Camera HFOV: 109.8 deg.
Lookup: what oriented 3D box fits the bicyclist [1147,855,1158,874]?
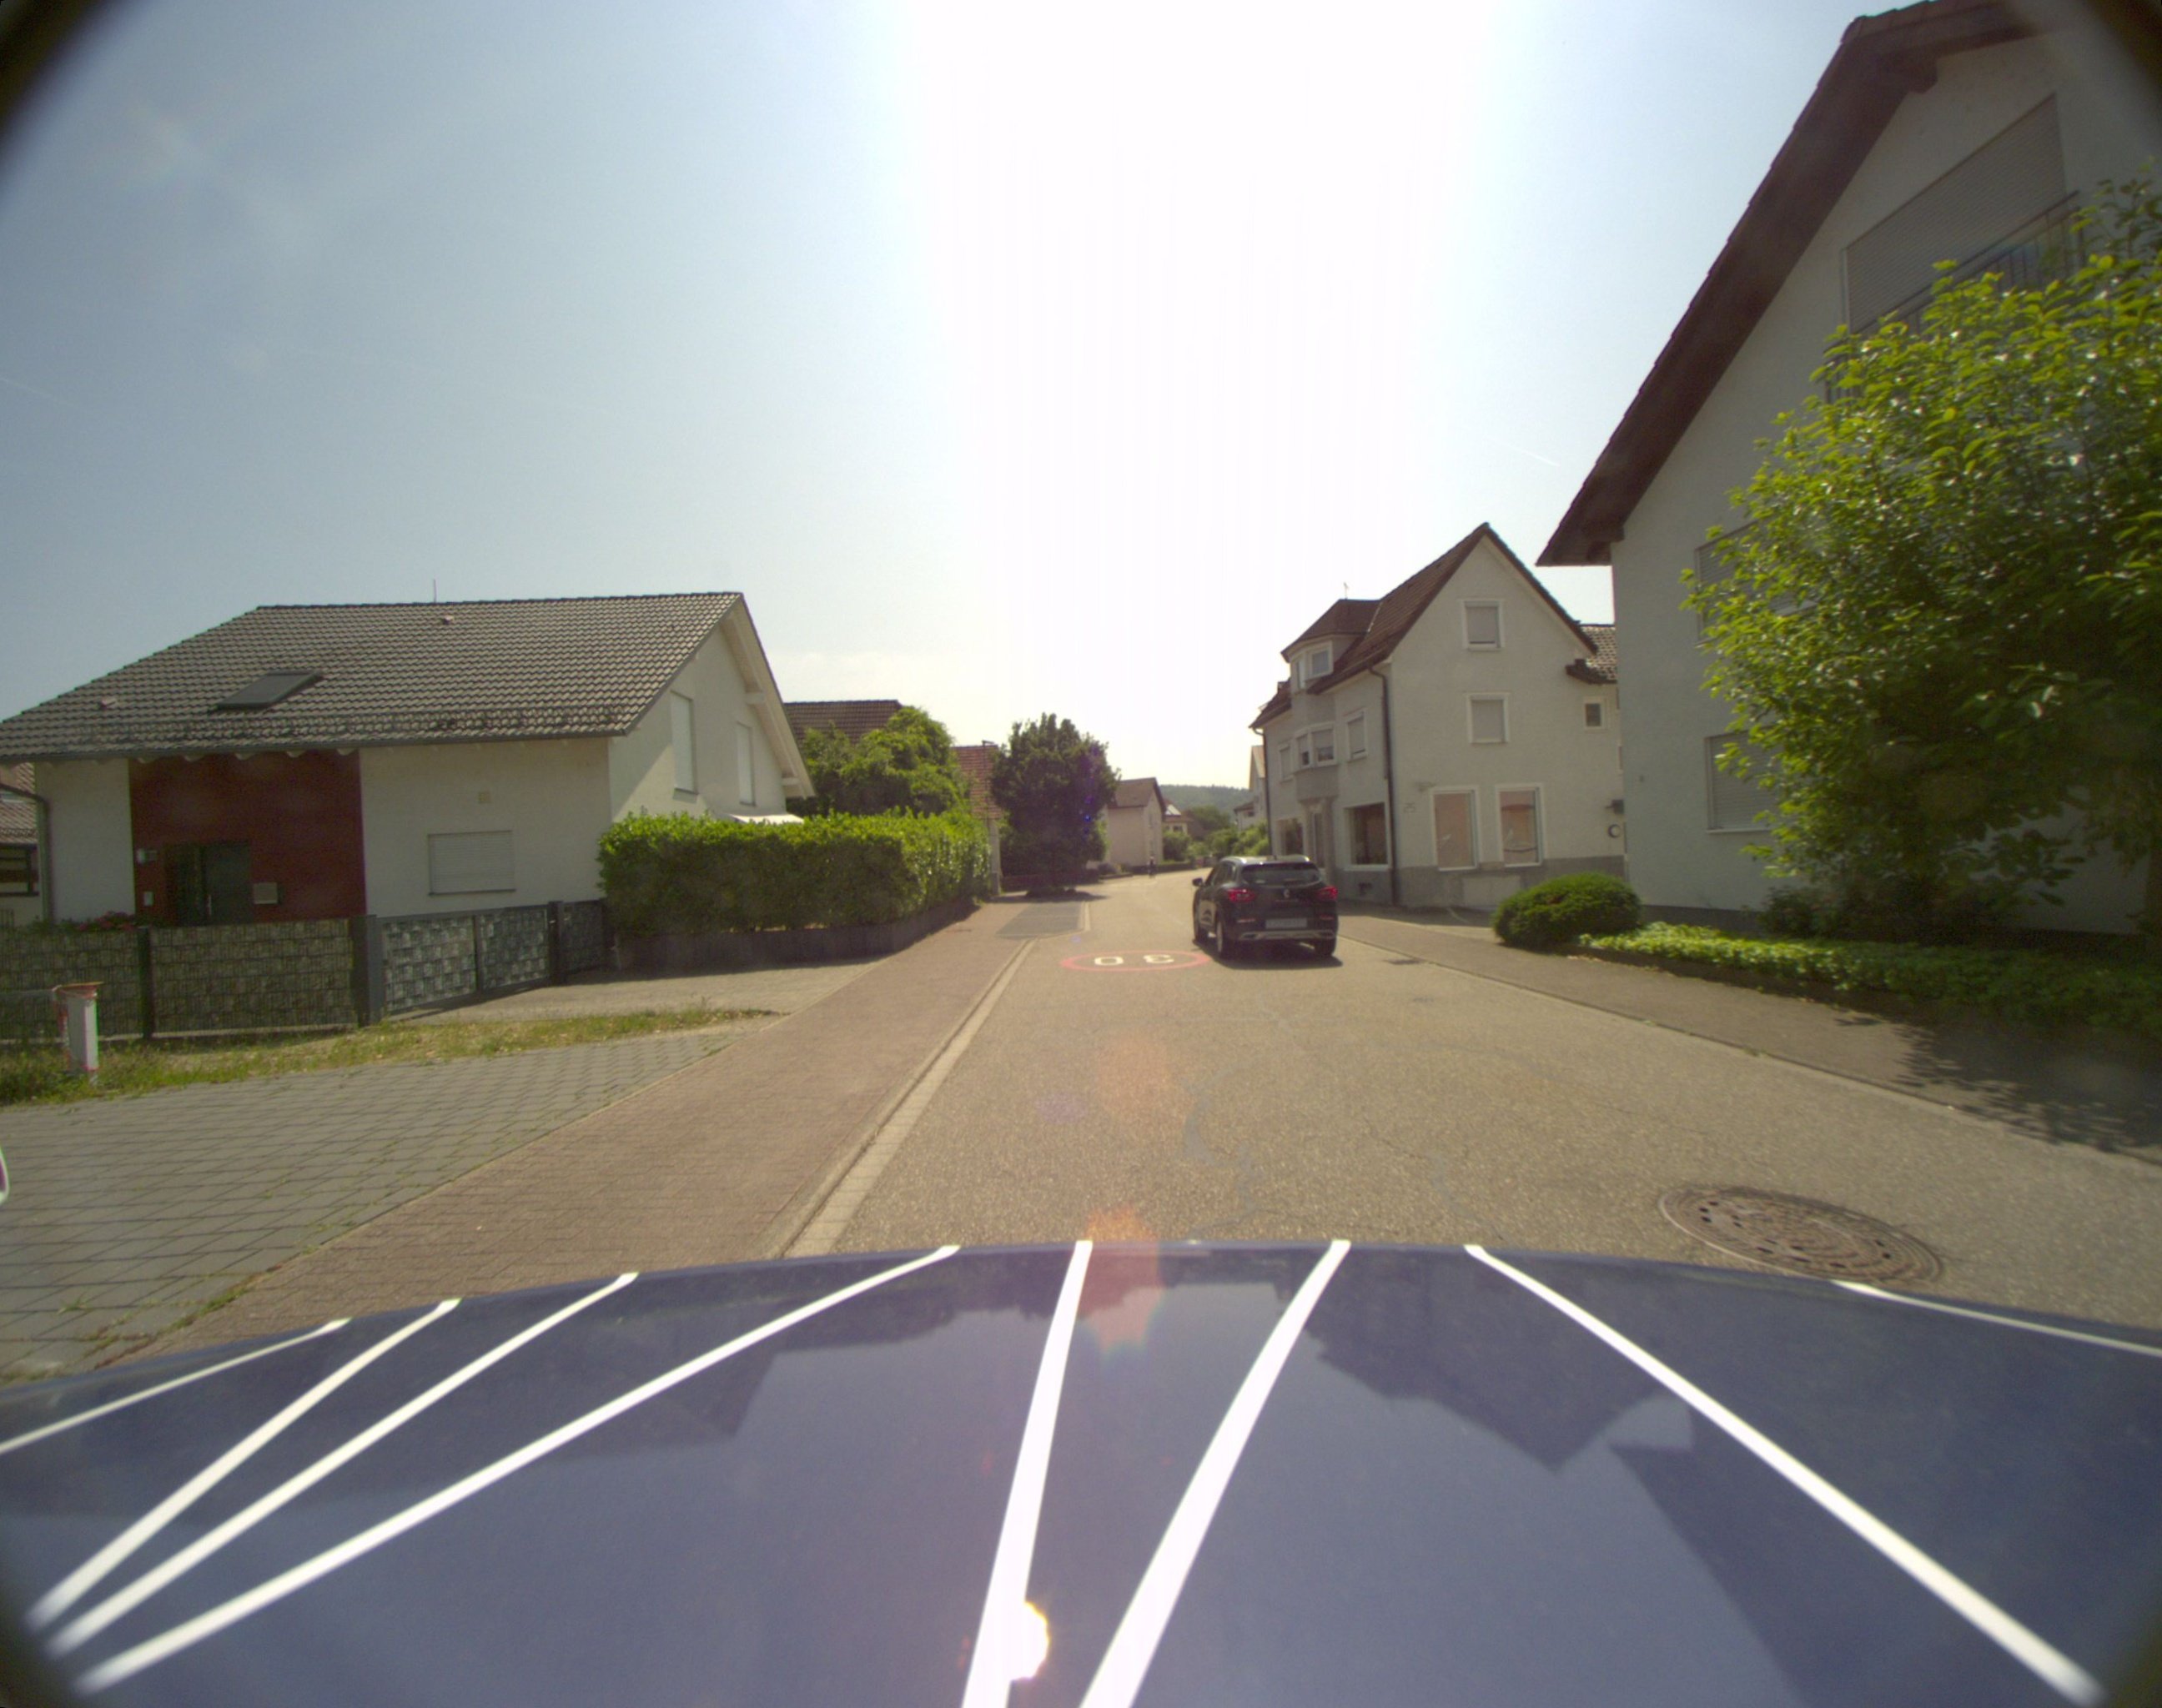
[{"bbox_3d":[5.782,0.821,61.316,0.546,1.481,0.798,-2,1,31],"label":"bicyclist"}]

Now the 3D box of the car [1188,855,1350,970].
[{"bbox_3d":[3.012,0.882,13.055,1.780,1.613,4.106,-2,-1,1],"label":"car"}]

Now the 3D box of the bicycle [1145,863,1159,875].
[{"bbox_3d":[5.714,1.235,61.171,0.520,0.898,1.315,-2,0,31],"label":"bicycle"}]

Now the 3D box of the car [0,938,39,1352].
[{"bbox_3d":[-5.619,1.061,1.755,3.668,1.465,1.765,-1,-1,-6],"label":"car"}]
